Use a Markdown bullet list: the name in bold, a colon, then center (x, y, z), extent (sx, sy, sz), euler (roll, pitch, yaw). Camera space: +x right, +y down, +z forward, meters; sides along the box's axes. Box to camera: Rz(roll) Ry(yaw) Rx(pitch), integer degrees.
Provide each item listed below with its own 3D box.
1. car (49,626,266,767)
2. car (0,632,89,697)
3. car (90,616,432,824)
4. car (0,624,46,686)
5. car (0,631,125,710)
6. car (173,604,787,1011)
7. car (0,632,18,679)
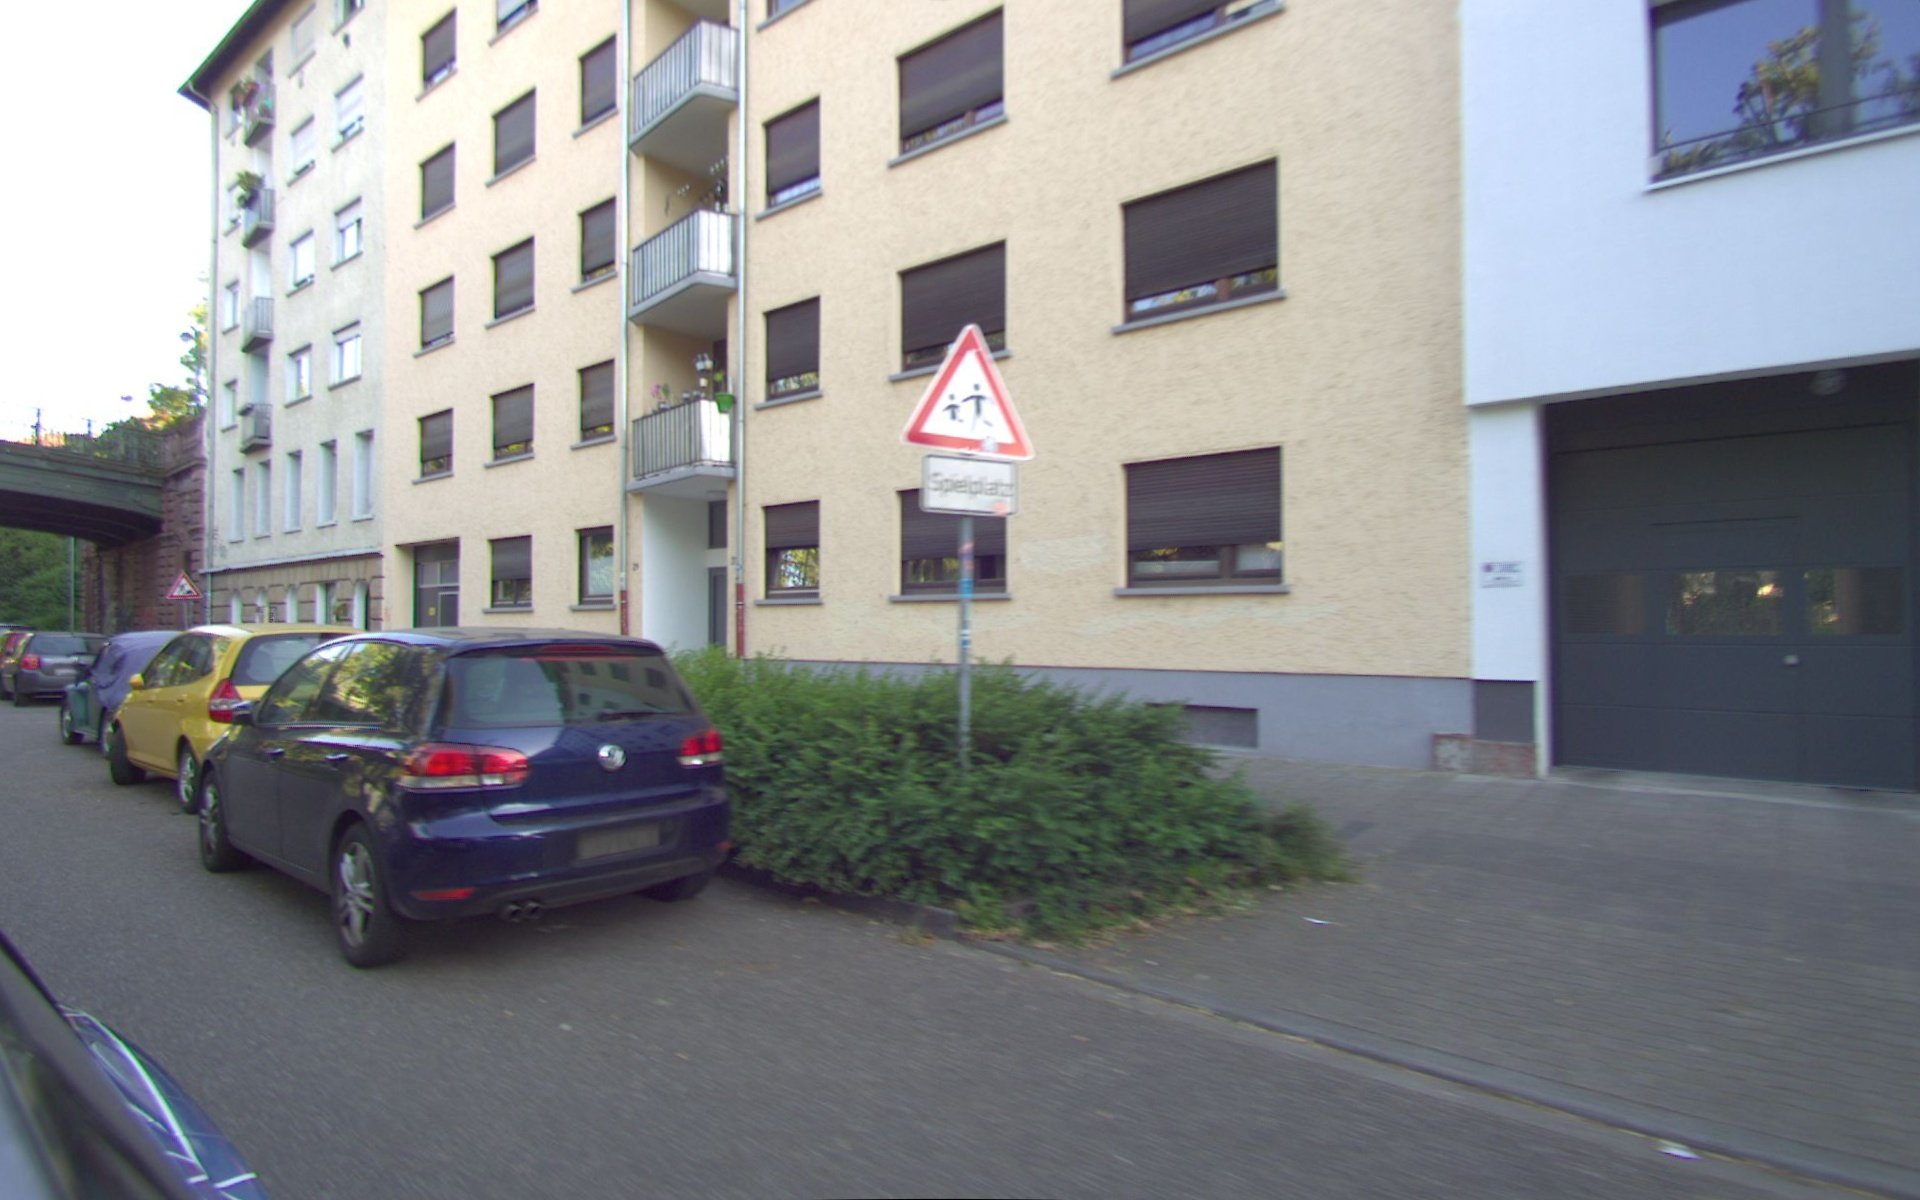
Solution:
- **car**: center (-10.273, 1.107, 12.863), extent (3.781, 1.529, 1.550), euler (-2, -3, 42)
- **car**: center (-22.650, 1.514, 24.594), extent (3.998, 1.452, 1.671), euler (-1, -2, 41)
- **car**: center (-6.593, 0.948, 9.410), extent (3.771, 1.537, 1.685), euler (-1, -2, 40)
- **car**: center (-28.318, 1.572, 29.562), extent (4.318, 1.721, 1.700), euler (-1, -3, 39)
- **car**: center (-18.778, 1.419, 20.939), extent (3.998, 1.478, 1.619), euler (-1, -5, 41)
- **car**: center (-2.921, 0.840, 5.735), extent (3.999, 1.490, 1.721), euler (-2, -3, 42)
- **car**: center (-32.252, 1.794, 33.084), extent (3.998, 1.475, 1.699), euler (-1, -3, 41)
